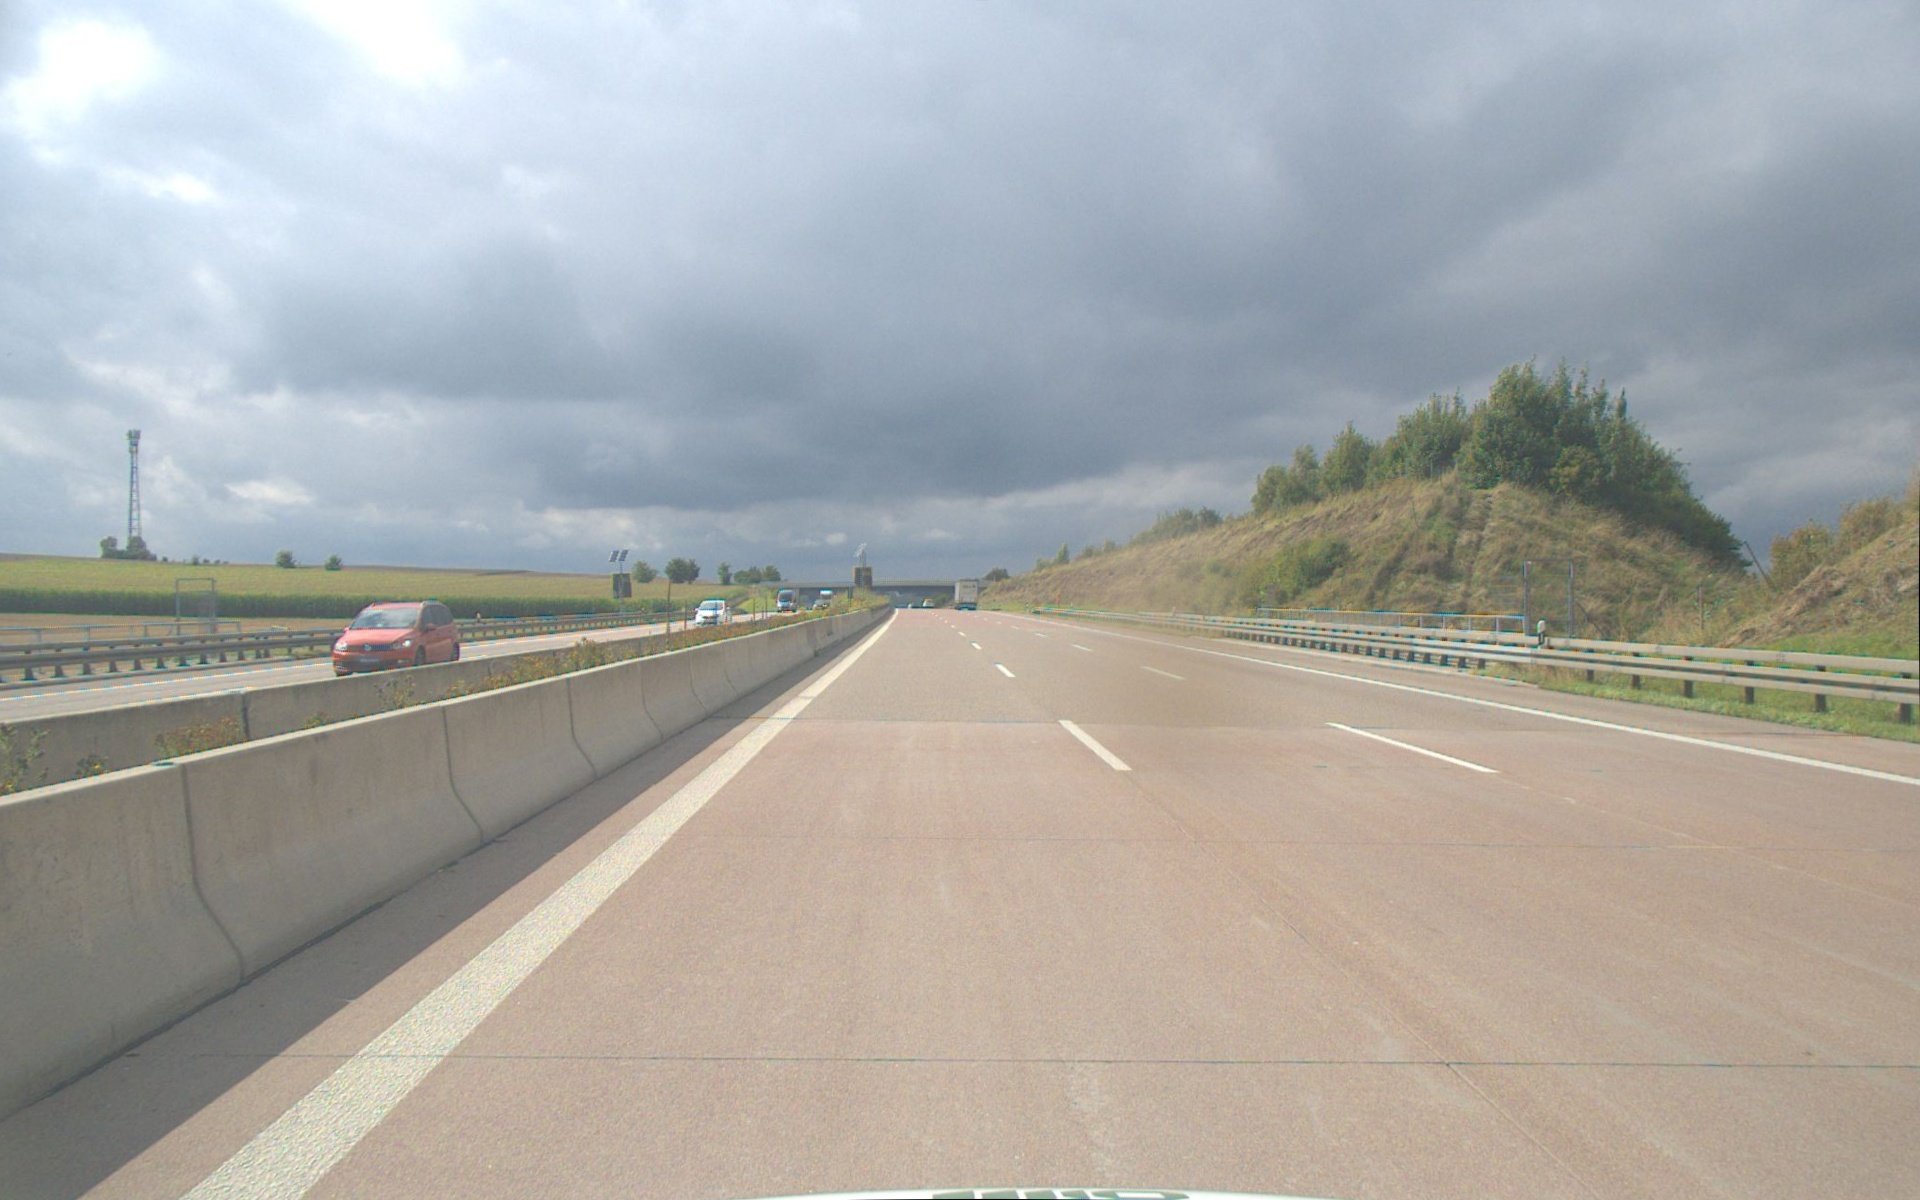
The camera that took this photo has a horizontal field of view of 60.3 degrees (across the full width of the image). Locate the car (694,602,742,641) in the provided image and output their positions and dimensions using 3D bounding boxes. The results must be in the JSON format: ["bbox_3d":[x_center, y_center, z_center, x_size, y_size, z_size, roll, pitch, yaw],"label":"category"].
[{"bbox_3d":[-13.496,1.172,92.430,1.953,2.106,4.711,-1,0,0],"label":"car"}]

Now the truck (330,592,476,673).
[{"bbox_3d":[-12.395,0.670,37.127,1.673,1.601,4.980,-2,1,-2],"label":"truck"}]

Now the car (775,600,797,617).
[{"bbox_3d":[-20.867,0.969,198.203,2.015,1.946,5.702,-1,0,-1],"label":"car"}]

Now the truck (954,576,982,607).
[{"bbox_3d":[1.103,-1.191,227.226,3.544,4.014,11.172,2,0,-1],"label":"truck"}]
